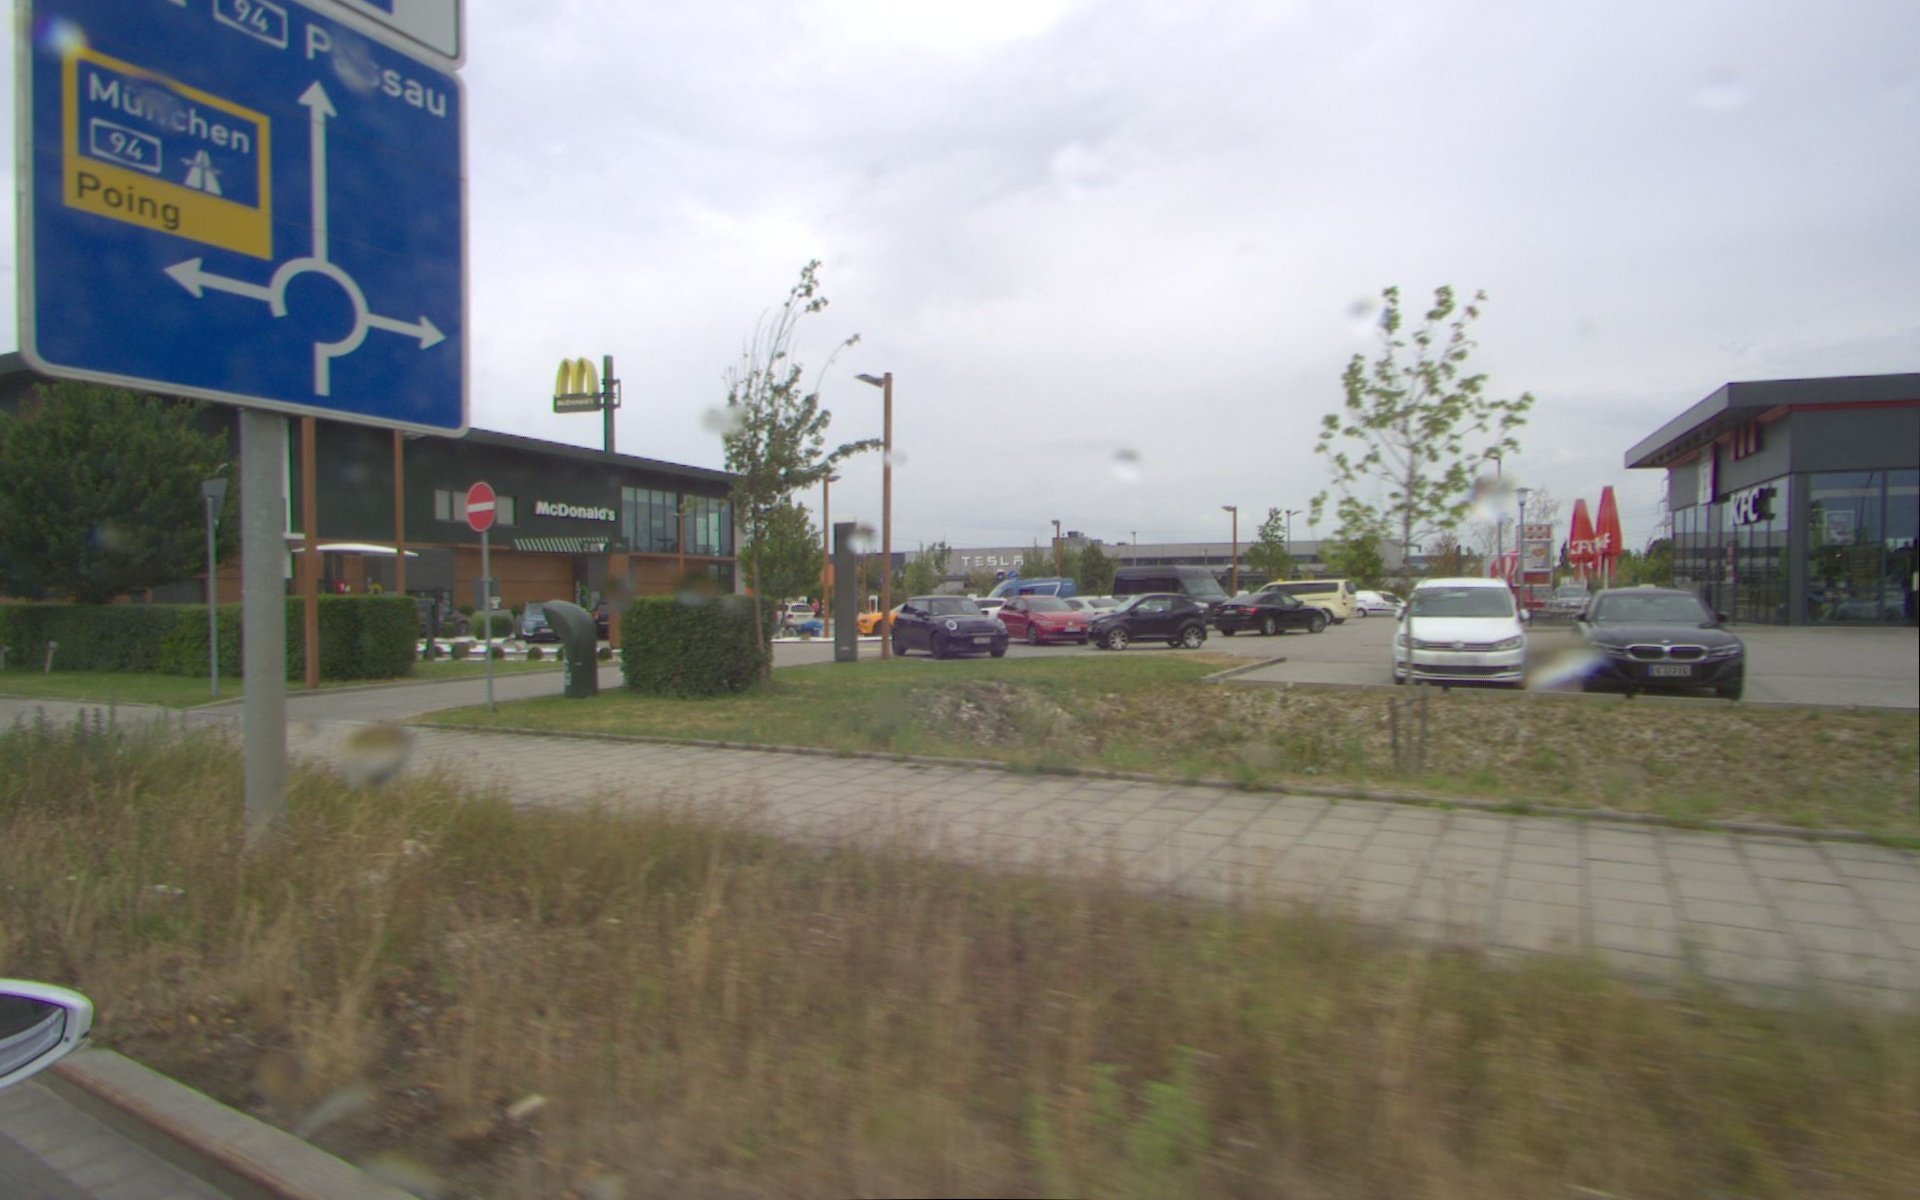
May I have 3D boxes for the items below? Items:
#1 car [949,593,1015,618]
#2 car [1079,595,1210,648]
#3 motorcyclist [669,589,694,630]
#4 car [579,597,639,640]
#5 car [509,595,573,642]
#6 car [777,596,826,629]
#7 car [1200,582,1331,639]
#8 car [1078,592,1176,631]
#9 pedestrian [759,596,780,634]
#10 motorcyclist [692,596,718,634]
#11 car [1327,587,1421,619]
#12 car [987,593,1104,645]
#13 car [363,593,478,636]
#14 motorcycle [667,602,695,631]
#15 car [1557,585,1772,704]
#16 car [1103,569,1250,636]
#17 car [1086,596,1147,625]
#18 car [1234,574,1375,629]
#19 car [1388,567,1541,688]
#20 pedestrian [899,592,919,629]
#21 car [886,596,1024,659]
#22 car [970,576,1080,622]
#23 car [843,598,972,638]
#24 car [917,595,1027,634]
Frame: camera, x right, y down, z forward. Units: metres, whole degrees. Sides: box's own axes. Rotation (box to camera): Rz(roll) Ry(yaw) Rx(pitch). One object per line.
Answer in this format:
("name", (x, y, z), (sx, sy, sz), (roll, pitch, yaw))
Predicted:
("car", (1.662, 0.439, 76.139), (4.685, 1.803, 1.950), (-1, 0, 24))
("car", (4.762, 0.559, 26.031), (3.031, 1.326, 1.525), (0, 0, -8))
("motorcyclist", (-12.754, 0.424, 45.776), (0.950, 1.856, 0.841), (0, 0, -28))
("car", (-15.167, 0.772, 43.149), (2.089, 1.739, 4.215), (0, -1, -25))
("car", (-16.534, 0.711, 39.426), (1.970, 1.739, 3.981), (0, -1, -28))
("car", (-8.687, 0.703, 55.225), (1.961, 1.745, 4.000), (0, -1, 2))
("car", (10.451, 0.317, 34.137), (4.318, 1.726, 1.993), (-2, 1, -34))
("car", (6.548, 0.444, 39.655), (1.924, 1.462, 4.205), (-1, 0, -22))
("pedestrian", (-7.346, 0.573, 38.648), (0.756, 1.458, 0.623), (0, 1, -6))
("motorcyclist", (-9.269, 0.526, 36.367), (0.769, 1.352, 0.893), (-1, 1, -24))
("car", (26.473, 0.185, 64.143), (5.485, 1.966, 2.311), (0, 1, 24))
("car", (2.475, 0.524, 30.027), (1.972, 1.448, 4.144), (0, 0, -19))
("car", (-23.059, 0.620, 42.953), (1.967, 1.739, 3.988), (0, -1, 24))
("motorcycle", (-12.731, 0.747, 45.720), (0.846, 1.261, 1.958), (0, 0, -27))
("car", (10.144, 0.542, 14.794), (2.042, 1.455, 4.463), (0, 0, 28))
("car", (8.860, 0.089, 42.063), (2.244, 2.535, 7.302), (0, 0, -23))
("car", (8.247, 0.519, 52.594), (1.926, 1.462, 4.202), (0, 0, 27))
("car", (15.740, 0.067, 45.908), (5.622, 2.382, 2.516), (0, 1, 39))
("car", (7.987, 0.369, 16.026), (1.906, 1.661, 4.346), (0, 0, 26))
("pedestrian", (-2.308, 0.467, 45.244), (0.674, 1.649, 0.738), (0, 0, -28))
("car", (-0.205, 0.586, 23.592), (1.789, 1.330, 3.833), (0, 0, -26))
("car", (3.740, -0.079, 57.985), (5.939, 2.562, 2.277), (0, 1, -16))
("car", (-2.068, 0.682, 39.370), (4.656, 1.462, 1.993), (-1, 0, -23))
("car", (0.546, 0.655, 45.930), (4.658, 1.678, 1.992), (-1, 0, -25))
